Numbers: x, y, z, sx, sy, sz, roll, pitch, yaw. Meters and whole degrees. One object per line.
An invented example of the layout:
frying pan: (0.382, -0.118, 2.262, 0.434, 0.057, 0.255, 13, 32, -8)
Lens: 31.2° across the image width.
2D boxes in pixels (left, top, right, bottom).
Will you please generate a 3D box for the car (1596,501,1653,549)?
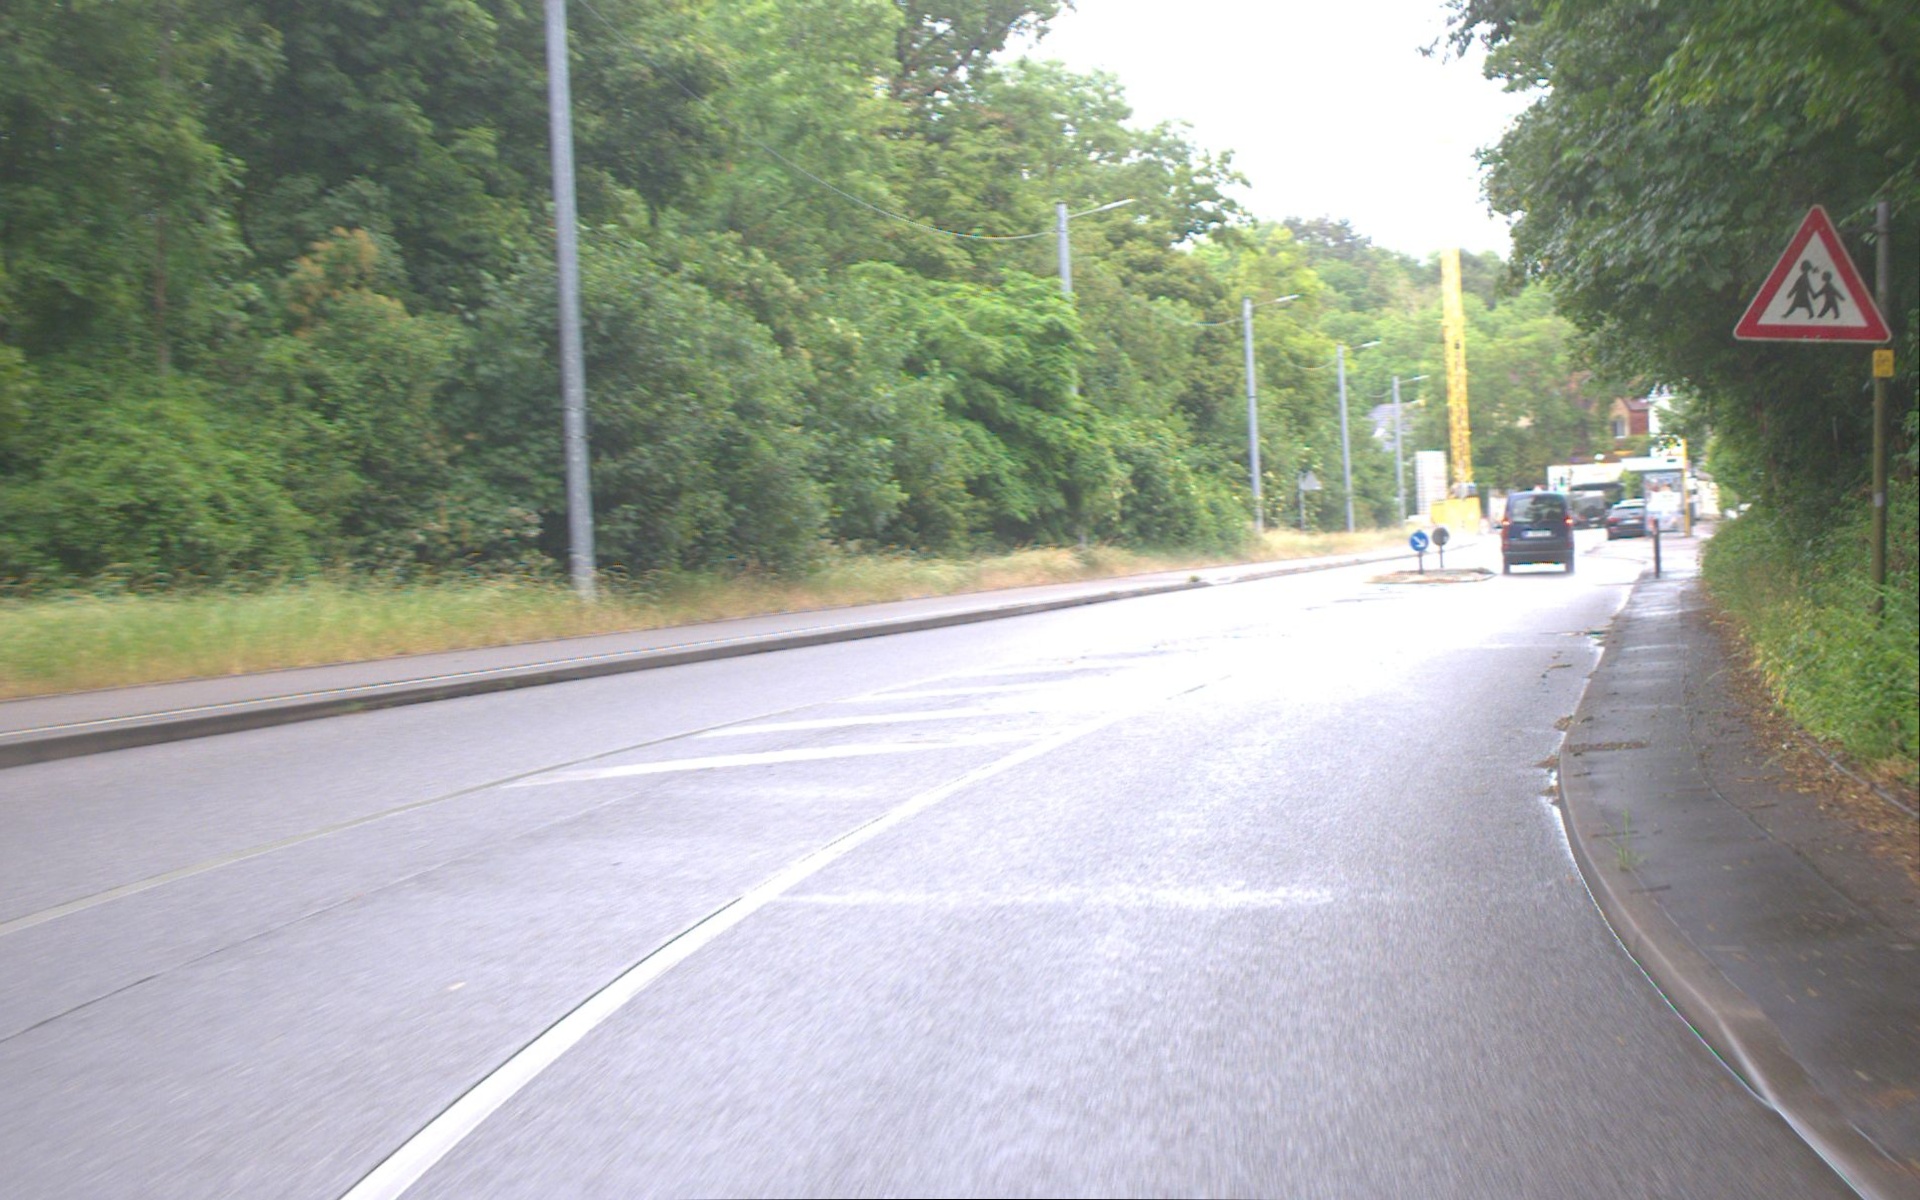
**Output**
car: (25.097, -2.831, 129.761, 1.994, 1.766, 4.112, 0, 1, 13)

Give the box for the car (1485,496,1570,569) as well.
car: (12.930, -1.552, 78.212, 1.668, 1.588, 3.681, 1, 2, 12)

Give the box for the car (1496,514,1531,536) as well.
car: (38.416, -5.212, 238.775, 1.740, 1.546, 3.856, 0, 1, -1)

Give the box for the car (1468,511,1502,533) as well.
car: (37.664, -5.578, 246.605, 1.740, 1.546, 3.856, -2, 1, -1)
